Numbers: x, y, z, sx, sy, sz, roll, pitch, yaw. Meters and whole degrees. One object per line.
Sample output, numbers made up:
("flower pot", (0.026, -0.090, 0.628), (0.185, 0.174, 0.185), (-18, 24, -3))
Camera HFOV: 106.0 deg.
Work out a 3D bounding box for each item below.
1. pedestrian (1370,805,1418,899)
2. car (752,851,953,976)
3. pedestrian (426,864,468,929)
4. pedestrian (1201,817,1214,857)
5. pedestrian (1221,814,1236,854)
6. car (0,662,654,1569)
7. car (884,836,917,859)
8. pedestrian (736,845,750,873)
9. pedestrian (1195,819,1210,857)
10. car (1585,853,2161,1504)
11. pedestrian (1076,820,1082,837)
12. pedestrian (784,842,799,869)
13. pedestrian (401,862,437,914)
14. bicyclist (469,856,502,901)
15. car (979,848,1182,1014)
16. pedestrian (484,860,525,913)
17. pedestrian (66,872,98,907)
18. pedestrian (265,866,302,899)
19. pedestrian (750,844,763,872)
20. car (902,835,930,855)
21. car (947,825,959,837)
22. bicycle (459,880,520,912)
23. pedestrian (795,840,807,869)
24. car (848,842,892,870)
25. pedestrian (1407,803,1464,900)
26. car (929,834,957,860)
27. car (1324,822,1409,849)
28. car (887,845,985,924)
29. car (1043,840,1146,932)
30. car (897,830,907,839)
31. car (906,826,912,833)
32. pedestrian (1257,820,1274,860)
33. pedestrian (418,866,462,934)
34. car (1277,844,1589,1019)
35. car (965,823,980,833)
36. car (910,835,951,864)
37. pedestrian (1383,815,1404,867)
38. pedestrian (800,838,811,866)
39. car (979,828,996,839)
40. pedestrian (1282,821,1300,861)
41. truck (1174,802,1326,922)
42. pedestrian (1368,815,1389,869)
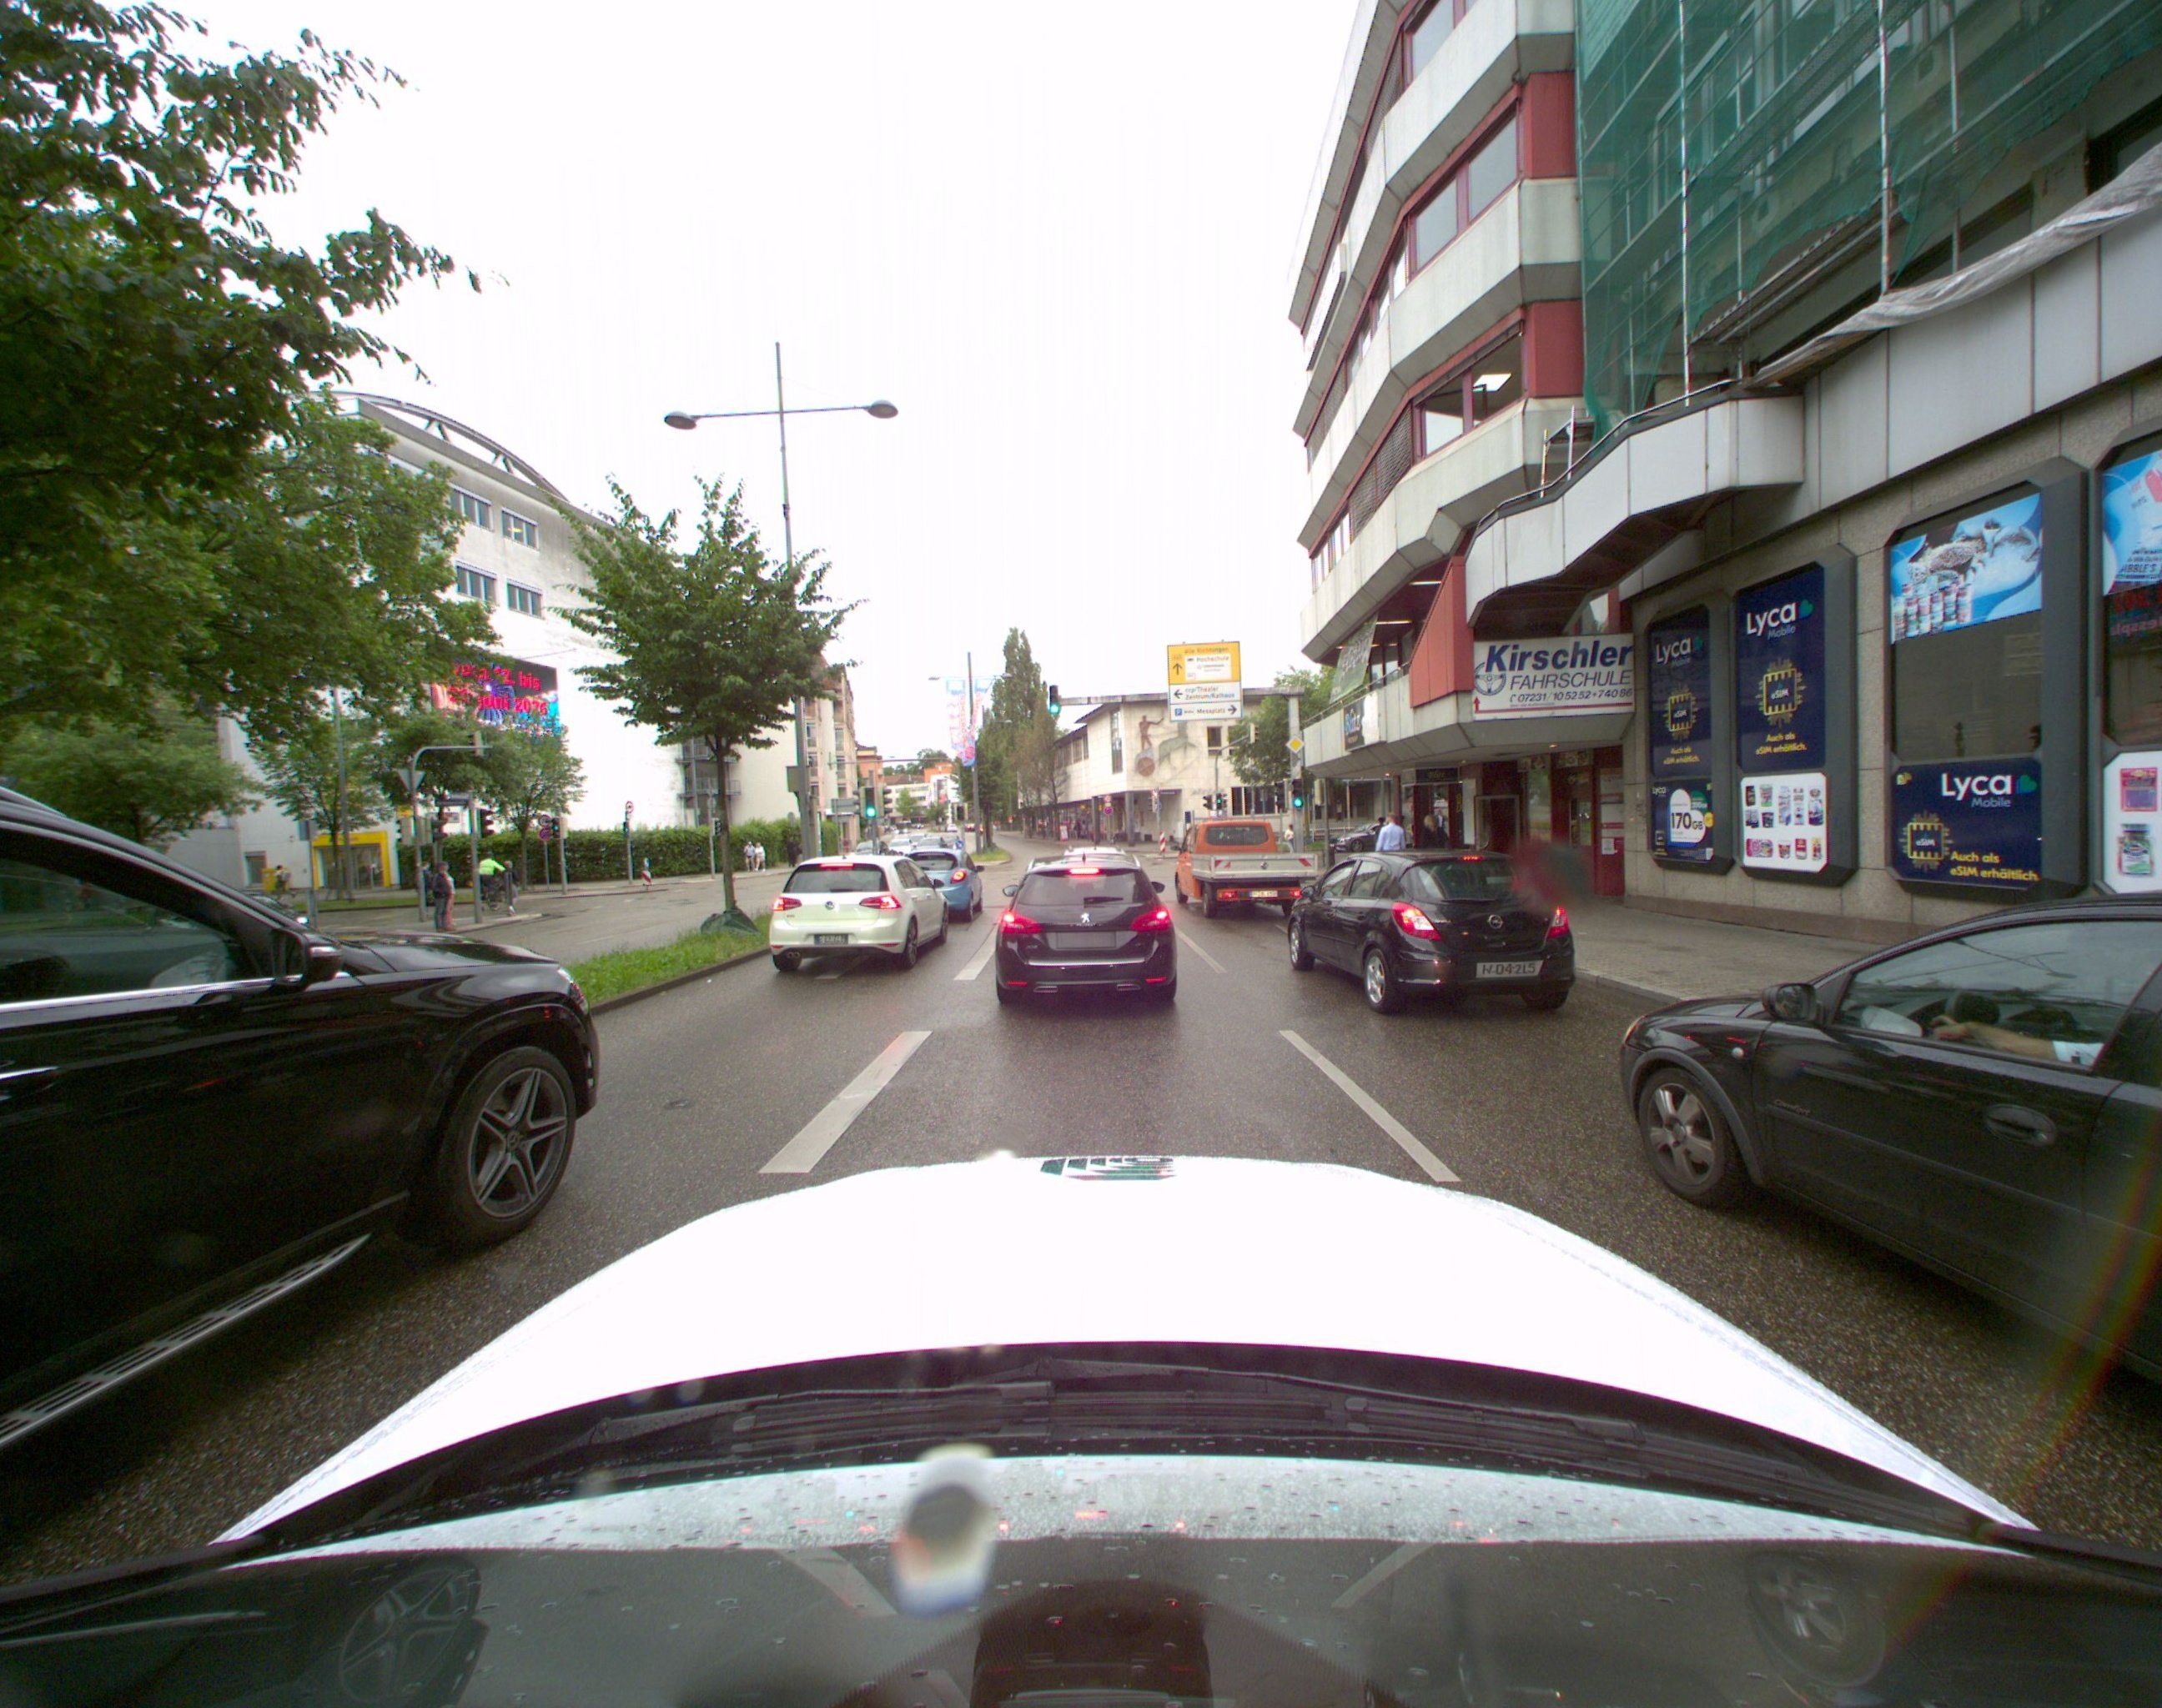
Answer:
("pedestrian", (6.570, -0.036, 17.127), (0.733, 1.935, 0.640), (-1, -1, 1))
("car", (-3.029, 0.704, 11.657), (1.772, 1.429, 3.842), (-1, 1, 0))
("pedestrian", (-16.963, 1.134, 21.812), (0.555, 1.661, 0.580), (-2, 2, 2))
("pedestrian", (6.147, -0.832, 39.601), (0.633, 1.897, 0.735), (-1, -1, 8))
("pedestrian", (7.138, -0.949, 39.450), (0.633, 1.897, 0.735), (-1, -1, 8))
("car", (-3.186, 0.547, 1.651), (1.905, 1.870, 5.073), (-1, -1, 1))
("car", (-12.059, -0.450, 54.560), (1.630, 1.486, 3.604), (-1, 1, -4))
("pedestrian", (-19.160, 0.297, 46.169), (0.579, 1.599, 0.526), (-1, -1, -5))
("pedestrian", (5.690, -0.741, 38.148), (0.633, 1.758, 0.735), (-1, -1, 8))
("car", (3.269, 0.743, 2.303), (1.600, 1.429, 3.626), (-1, 1, 3))
("pedestrian", (-0.175, -2.581, 83.021), (0.469, 1.748, 0.537), (0, -1, -19))
("pedestrian", (-18.145, 0.090, 51.019), (0.634, 1.643, 0.735), (-1, -1, 5))
("pedestrian", (-22.108, 1.126, 27.213), (0.637, 1.666, 0.580), (-2, 2, 1))
("bicyclist", (-20.645, 0.849, 28.259), (0.629, 1.530, 0.609), (-3, -1, 1))
("car", (0.105, 0.665, 9.107), (1.770, 1.429, 3.846), (-1, 1, 3))
("pedestrian", (-18.589, 1.039, 26.278), (0.750, 1.661, 0.628), (-2, 2, 1))
("pedestrian", (-48.422, 1.713, 39.487), (0.633, 1.643, 0.735), (-1, -1, 8))
("pedestrian", (-38.078, 1.351, 38.891), (1.059, 1.578, 0.683), (-1, -1, -3))
("pedestrian", (-18.557, 0.227, 46.560), (0.579, 1.599, 0.526), (-1, -1, -5))
("car", (-12.441, -0.698, 61.531), (1.630, 1.486, 3.604), (-1, 1, -4))
("car", (-23.122, -4.161, 146.863), (1.709, 1.882, 3.979), (0, -1, -15))
("bicycle", (-20.612, 1.464, 28.428), (0.613, 1.000, 1.941), (-3, -1, 2))
("pedestrian", (-17.372, 0.037, 50.581), (0.538, 1.748, 0.745), (-1, -1, -7))
("car", (-11.865, 0.062, 45.984), (1.569, 1.486, 3.608), (-1, 1, -1))
("pedestrian", (7.492, -0.047, 17.229), (0.733, 1.934, 0.640), (-5, -1, 1))
("car", (-9.295, -0.457, 55.106), (1.743, 1.640, 3.988), (0, -1, -9))
("car", (13.998, -0.885, 40.093), (3.669, 1.212, 1.839), (-1, -1, 6))
("car", (-3.046, 0.566, 17.707), (1.629, 1.486, 3.606), (-1, 1, -3))
("car", (0.285, 0.503, 15.417), (1.690, 1.486, 3.795), (-1, 1, 2))
("car", (-46.196, -4.974, 209.941), (1.999, 2.014, 3.976), (0, -1, -18))
("car", (-51.905, -7.417, 245.601), (1.709, 1.786, 3.979), (0, -1, -15))
("pedestrian", (7.798, -0.600, 34.477), (0.633, 1.659, 0.735), (-1, -1, 8))
("pedestrian", (-16.297, 1.163, 20.711), (0.555, 1.661, 0.580), (-2, 2, 2))
("car", (3.396, 0.619, 8.687), (1.611, 1.429, 3.840), (-1, 1, -1))
("car", (-18.946, -4.587, 142.181), (1.730, 1.490, 4.701), (0, -1, -20))
("car", (-8.780, -0.217, 47.689), (1.739, 1.579, 3.997), (-1, -1, -1))
("pedestrian", (10.148, -0.410, 26.469), (0.395, 1.640, 0.504), (-3, -1, 2))
("pedestrian", (-17.703, -0.133, 52.320), (0.538, 1.748, 0.564), (-1, -1, -3))
("car", (-13.582, -2.970, 117.991), (1.790, 1.454, 4.485), (-5, 3, -14))
("pedestrian", (8.840, -0.554, 34.359), (0.633, 1.659, 0.735), (-1, -1, 8))
("truck", (3.379, 0.084, 17.404), (2.170, 2.172, 5.020), (-1, 1, 0))
("pedestrian", (9.577, -0.376, 26.190), (0.424, 1.682, 0.450), (-3, -1, 0))
